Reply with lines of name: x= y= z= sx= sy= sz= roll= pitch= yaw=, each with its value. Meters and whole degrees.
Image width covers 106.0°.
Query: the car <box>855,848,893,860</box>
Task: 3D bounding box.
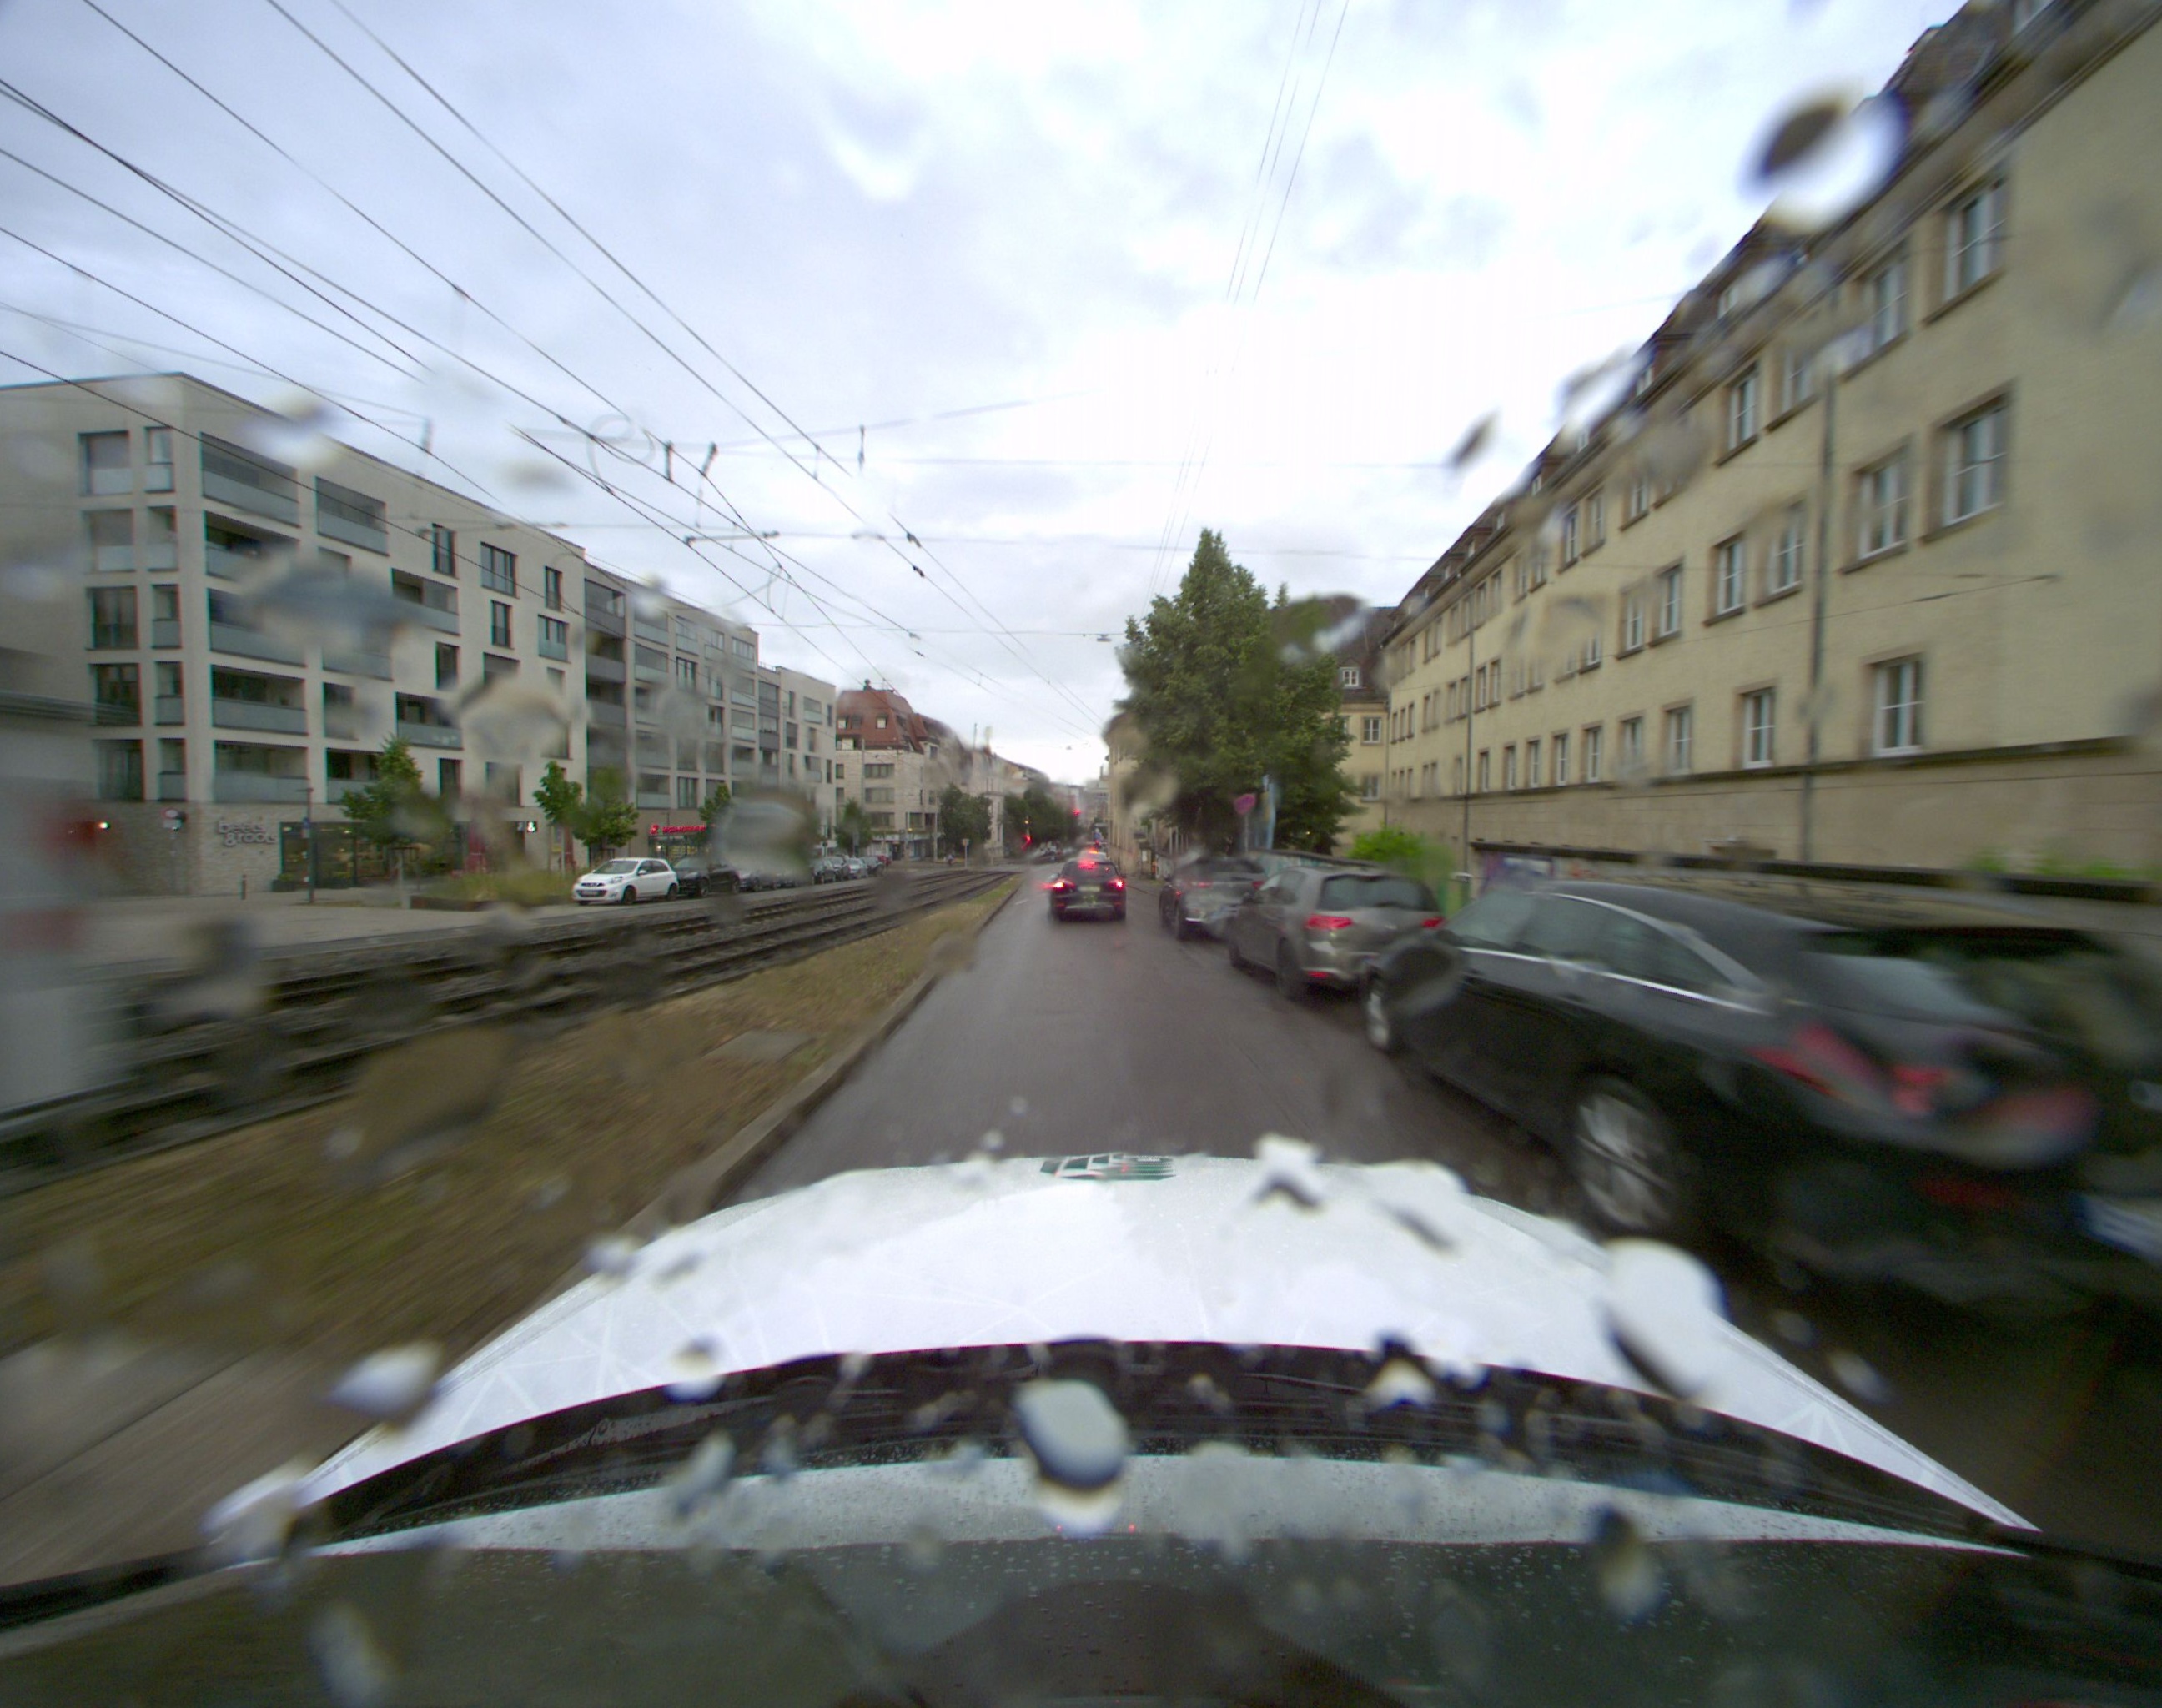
car: x=-25.712 y=0.002 z=101.140 sx=4.112 sy=1.568 sz=1.827 roll=0 pitch=0 yaw=6

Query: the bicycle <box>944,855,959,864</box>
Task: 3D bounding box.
bicycle: x=-14.982 y=0.648 z=94.257 sx=1.811 sy=1.064 sz=0.452 roll=1 pitch=0 yaw=-37

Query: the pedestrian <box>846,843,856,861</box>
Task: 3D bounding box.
pedestrian: x=-25.370 y=-0.234 z=89.947 sx=0.940 sy=2.013 sz=0.763 roll=0 pitch=0 yaw=-6

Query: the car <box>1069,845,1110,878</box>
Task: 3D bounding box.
car: x=0.529 y=0.375 z=46.193 sx=2.128 sy=1.745 sz=4.221 roll=-1 pitch=1 yaw=3

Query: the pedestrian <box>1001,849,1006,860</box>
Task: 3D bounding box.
pedestrian: x=-14.477 y=0.083 z=151.588 sx=0.942 sy=2.013 sz=0.762 roll=0 pitch=0 yaw=-12

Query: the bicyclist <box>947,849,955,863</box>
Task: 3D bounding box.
bicyclist: x=-15.020 y=0.216 z=94.225 sx=0.705 sy=1.574 sz=0.457 roll=1 pitch=0 yaw=-37

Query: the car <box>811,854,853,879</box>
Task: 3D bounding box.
car: x=-15.724 y=0.768 z=51.613 sx=1.770 sy=1.504 sz=3.914 roll=-1 pitch=0 yaw=-5

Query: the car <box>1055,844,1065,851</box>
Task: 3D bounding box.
car: x=-4.859 y=-1.577 z=189.366 sx=1.985 sy=1.662 sz=4.003 roll=0 pitch=0 yaw=3

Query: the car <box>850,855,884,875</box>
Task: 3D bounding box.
car: x=-16.602 y=0.839 z=63.323 sx=1.909 sy=1.504 sz=4.229 roll=-1 pitch=0 yaw=-5

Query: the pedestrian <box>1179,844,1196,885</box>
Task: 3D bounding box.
pedestrian: x=4.514 y=0.445 z=34.598 sx=0.630 sy=1.721 sz=0.711 roll=-1 pitch=0 yaw=-1

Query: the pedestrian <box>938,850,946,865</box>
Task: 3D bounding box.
pedestrian: x=-17.948 y=0.415 z=105.020 sx=0.904 sy=1.931 sz=0.824 roll=0 pitch=0 yaw=-6

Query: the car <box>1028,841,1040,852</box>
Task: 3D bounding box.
car: x=-9.161 y=-1.464 z=158.900 sx=1.985 sy=2.013 sz=4.003 roll=0 pitch=0 yaw=3

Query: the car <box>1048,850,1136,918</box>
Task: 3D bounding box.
car: x=0.168 y=0.678 z=20.659 sx=1.916 sy=1.479 sz=3.995 roll=-1 pitch=1 yaw=-4

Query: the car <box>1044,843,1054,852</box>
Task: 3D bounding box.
car: x=-6.888 y=-1.451 z=176.184 sx=1.985 sy=2.013 sz=4.003 roll=0 pitch=0 yaw=3

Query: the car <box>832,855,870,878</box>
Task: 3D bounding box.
car: x=-15.930 y=0.828 z=56.564 sx=1.770 sy=1.504 sz=4.076 roll=-1 pitch=0 yaw=-5

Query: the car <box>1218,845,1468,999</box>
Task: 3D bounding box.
car: x=2.942 y=0.665 z=10.114 sx=1.661 sy=1.476 sz=4.106 roll=-1 pitch=0 yaw=-2

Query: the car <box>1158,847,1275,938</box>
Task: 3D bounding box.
car: x=2.522 y=0.658 z=16.080 sx=1.660 sy=1.524 sz=4.109 roll=-1 pitch=0 yaw=1

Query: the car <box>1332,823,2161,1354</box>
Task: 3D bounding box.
car: x=2.889 y=0.648 z=4.536 sx=1.660 sy=1.476 sz=4.458 roll=-1 pitch=0 yaw=1

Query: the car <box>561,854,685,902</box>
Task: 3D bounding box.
car: x=-15.143 y=0.748 z=27.160 sx=1.757 sy=1.479 sz=3.740 roll=-1 pitch=0 yaw=5

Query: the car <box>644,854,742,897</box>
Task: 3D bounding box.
car: x=-14.891 y=0.774 z=31.560 sx=1.761 sy=1.561 sz=4.403 roll=-1 pitch=0 yaw=-1

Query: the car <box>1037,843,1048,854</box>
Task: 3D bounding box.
car: x=-7.786 y=-1.120 z=165.247 sx=1.985 sy=2.013 sz=4.003 roll=0 pitch=0 yaw=3

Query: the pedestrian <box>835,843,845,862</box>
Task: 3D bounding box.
pedestrian: x=-26.679 y=-0.161 z=90.141 sx=0.940 sy=2.013 sz=0.763 roll=0 pitch=0 yaw=-6

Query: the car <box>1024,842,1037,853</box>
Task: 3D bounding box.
car: x=-9.367 y=-1.182 z=152.594 sx=1.985 sy=2.013 sz=4.003 roll=0 pitch=0 yaw=3

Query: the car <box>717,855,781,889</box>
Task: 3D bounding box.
car: x=-14.996 y=0.785 z=36.916 sx=1.544 sy=1.435 sz=3.449 roll=-1 pitch=0 yaw=-1

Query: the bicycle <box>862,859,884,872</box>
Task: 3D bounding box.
bicycle: x=-17.744 y=1.006 z=69.460 sx=1.801 sy=1.064 sz=0.455 roll=1 pitch=0 yaw=-17

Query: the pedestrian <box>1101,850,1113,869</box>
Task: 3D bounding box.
pedestrian: x=2.362 y=0.490 z=74.706 sx=1.043 sy=1.795 sz=0.901 roll=0 pitch=0 yaw=-4

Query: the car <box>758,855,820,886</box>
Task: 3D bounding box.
car: x=-14.918 y=0.796 z=41.852 sx=1.714 sy=1.513 sz=4.316 roll=-1 pitch=0 yaw=-1

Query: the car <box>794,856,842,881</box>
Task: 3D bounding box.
car: x=-15.197 y=0.825 z=47.294 sx=1.544 sy=1.362 sz=4.008 roll=1 pitch=0 yaw=-1
